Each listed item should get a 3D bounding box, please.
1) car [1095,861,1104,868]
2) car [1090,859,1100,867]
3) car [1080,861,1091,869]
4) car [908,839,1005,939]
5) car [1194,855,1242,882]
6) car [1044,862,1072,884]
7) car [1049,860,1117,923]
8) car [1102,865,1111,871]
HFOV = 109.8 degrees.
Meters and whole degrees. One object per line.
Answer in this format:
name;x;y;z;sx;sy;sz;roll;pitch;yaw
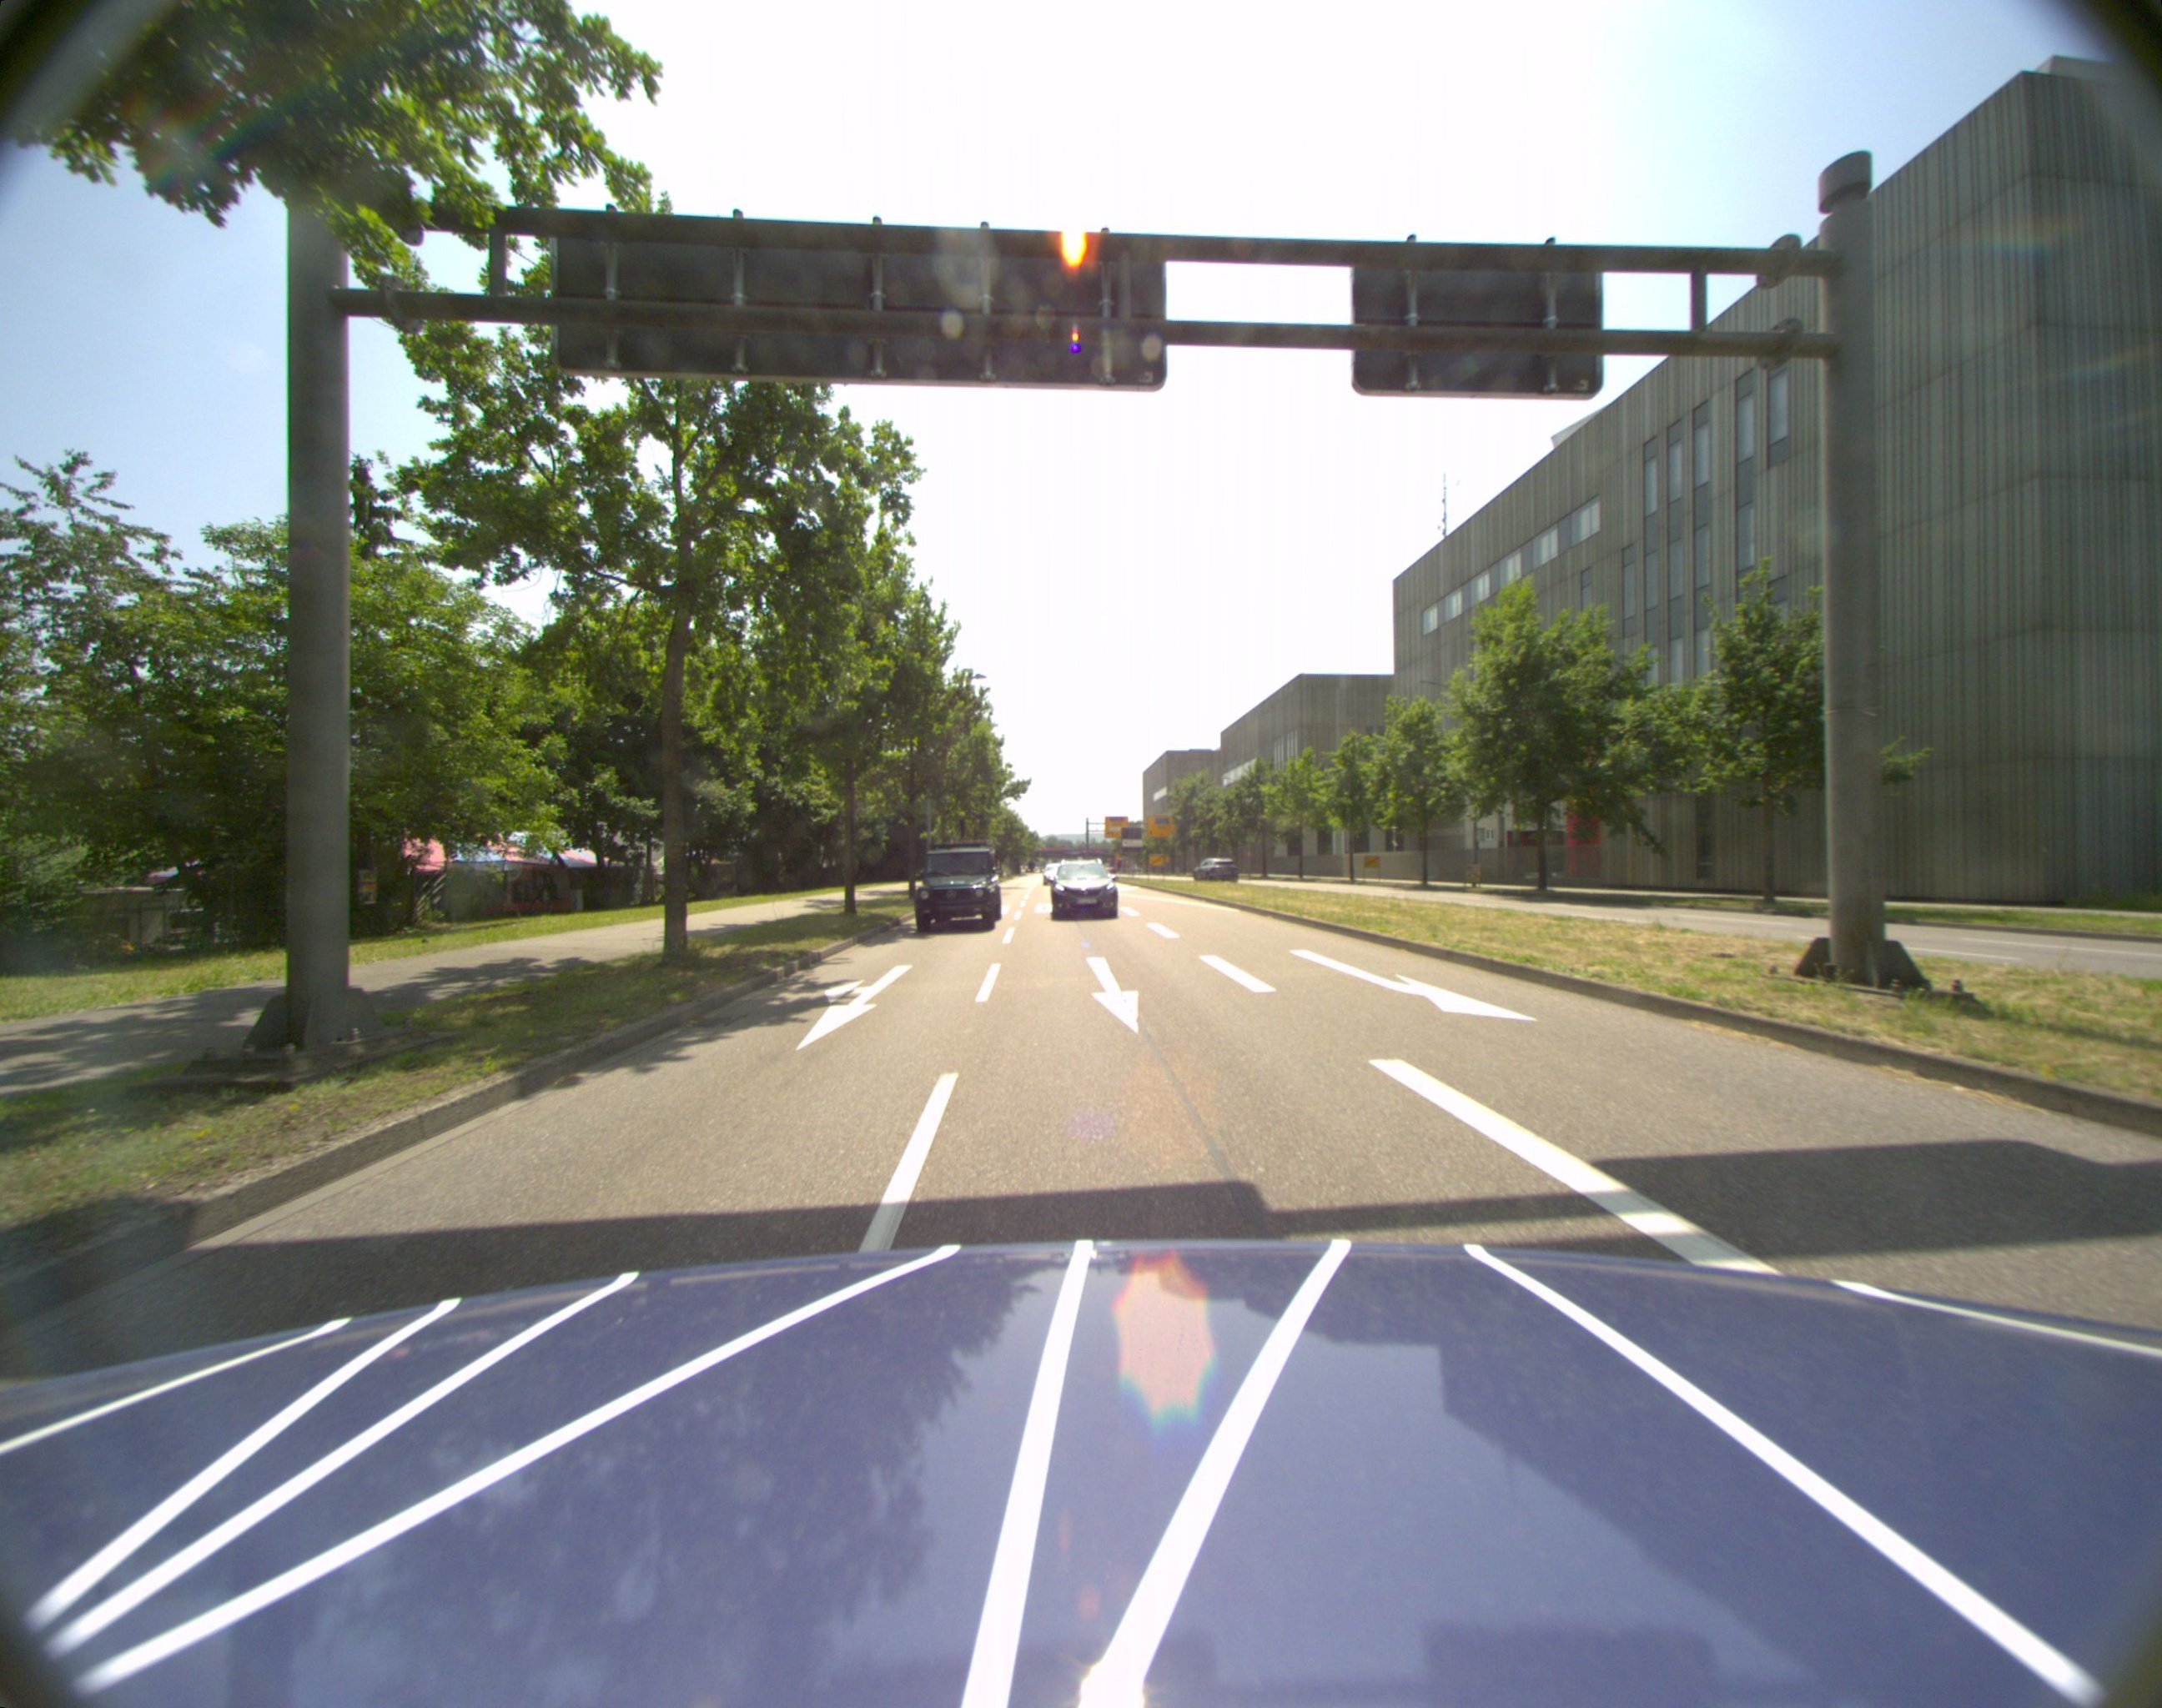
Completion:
car;4.645;2.652;188.631;1.815;1.736;4.644;-1;0;-5
car;3.134;2.003;172.336;1.863;1.914;3.999;-1;0;-2
car;0.906;2.240;151.742;1.712;1.463;3.940;0;-1;-5
car;-2.939;0.783;18.806;1.842;2.141;4.557;-1;0;-3
car;8.507;0.879;47.612;1.898;1.601;4.532;-1;0;-5
car;-1.610;1.271;52.437;1.817;1.455;3.999;-1;-1;-3
car;0.041;0.997;21.292;1.619;1.502;4.458;-3;-1;0
car;5.796;3.135;174.040;1.815;1.418;4.358;0;-1;-2
